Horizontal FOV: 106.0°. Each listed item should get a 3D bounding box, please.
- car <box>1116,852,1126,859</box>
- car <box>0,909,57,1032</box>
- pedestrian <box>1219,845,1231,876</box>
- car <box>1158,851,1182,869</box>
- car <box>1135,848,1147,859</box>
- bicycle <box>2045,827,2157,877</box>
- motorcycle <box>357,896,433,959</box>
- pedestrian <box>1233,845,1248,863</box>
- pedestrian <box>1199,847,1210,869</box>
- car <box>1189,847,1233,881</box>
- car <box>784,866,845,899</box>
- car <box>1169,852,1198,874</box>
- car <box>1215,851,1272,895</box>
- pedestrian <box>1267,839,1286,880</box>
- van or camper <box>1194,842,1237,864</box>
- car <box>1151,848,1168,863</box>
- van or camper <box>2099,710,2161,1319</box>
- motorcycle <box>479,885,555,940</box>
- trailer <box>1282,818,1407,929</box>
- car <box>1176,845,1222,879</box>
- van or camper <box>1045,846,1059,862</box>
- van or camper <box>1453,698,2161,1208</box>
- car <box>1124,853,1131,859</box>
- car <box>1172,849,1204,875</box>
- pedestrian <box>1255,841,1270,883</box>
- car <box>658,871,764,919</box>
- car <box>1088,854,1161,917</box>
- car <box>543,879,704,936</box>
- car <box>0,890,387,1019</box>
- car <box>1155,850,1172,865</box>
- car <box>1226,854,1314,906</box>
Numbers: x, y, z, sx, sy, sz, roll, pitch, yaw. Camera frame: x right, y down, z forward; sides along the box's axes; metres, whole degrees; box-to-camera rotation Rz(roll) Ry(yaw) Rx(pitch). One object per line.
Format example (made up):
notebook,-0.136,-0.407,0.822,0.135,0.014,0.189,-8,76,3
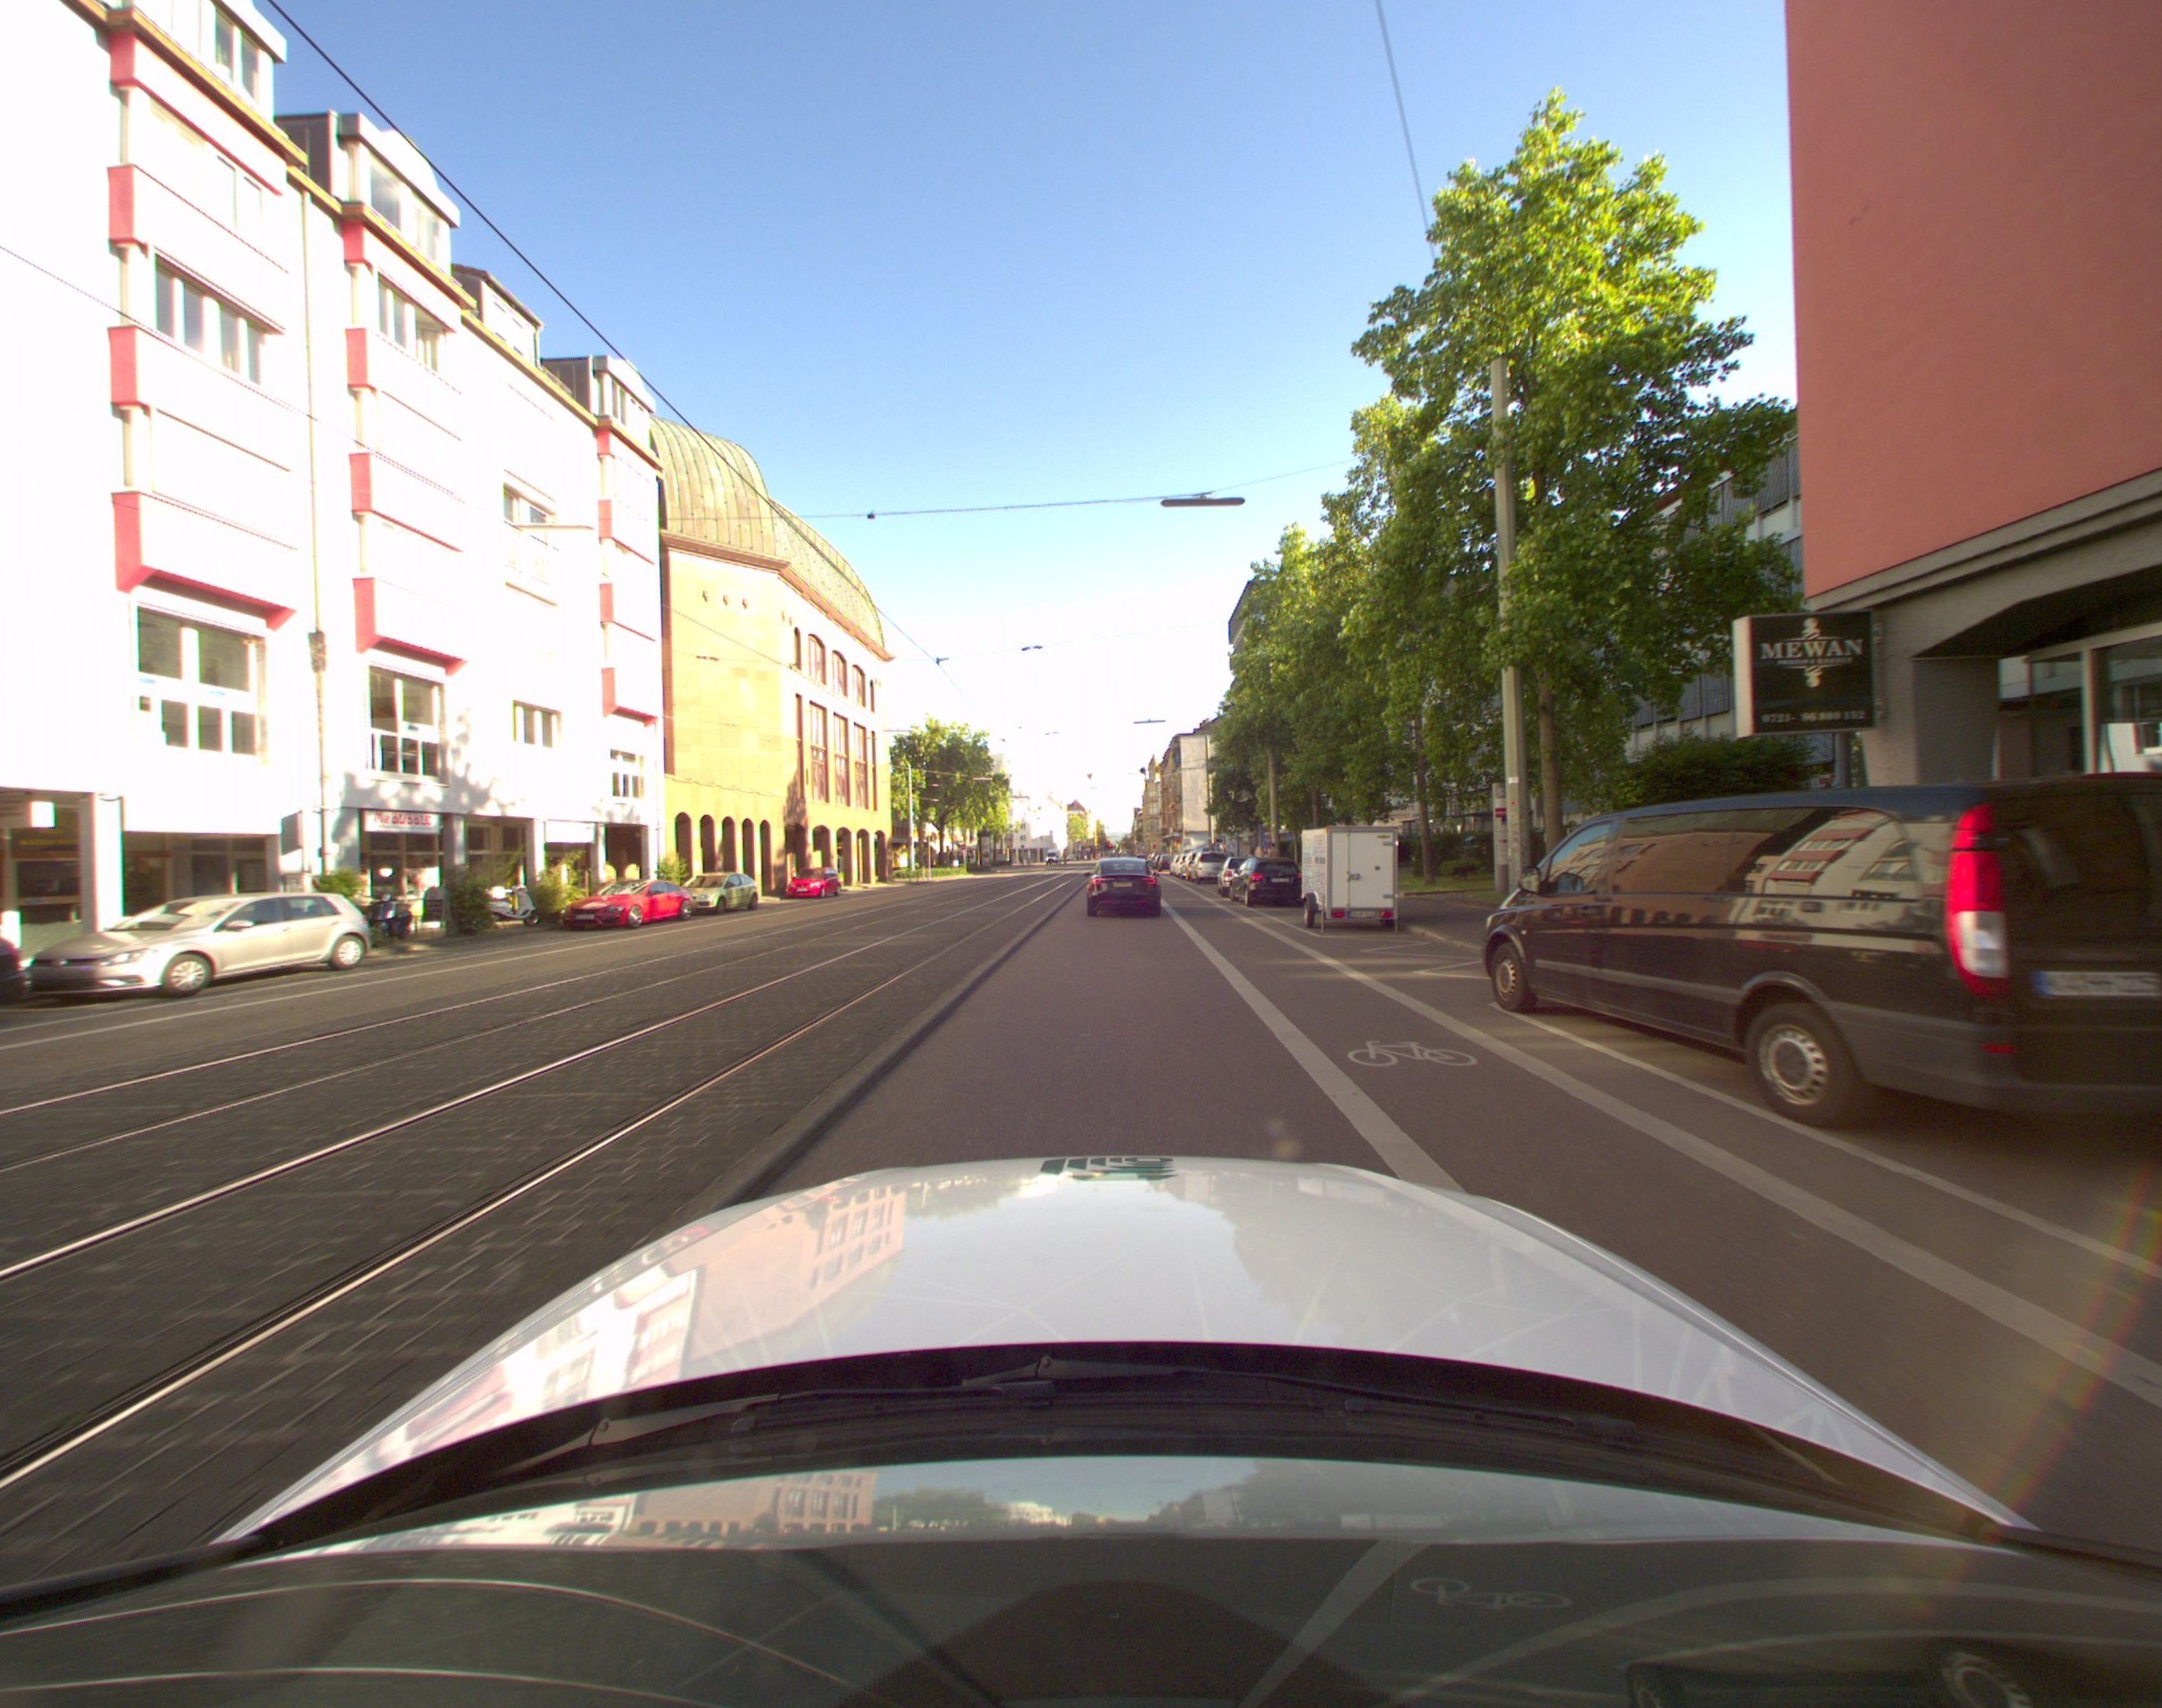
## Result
car,9.642,0.344,195.754,1.988,1.525,3.998,-2,0,-2
car,-14.214,1.491,8.069,1.894,1.458,4.828,-2,0,2
pedestrian,8.568,0.387,48.503,0.608,1.808,0.604,-3,0,7
car,7.749,0.507,71.134,1.704,1.457,4.553,-1,0,2
car,8.916,-0.081,121.422,1.587,1.433,3.689,-3,0,3
bicycle,20.625,-0.043,16.483,1.576,0.876,0.450,-4,0,4
motorcycle,-15.275,1.604,18.188,0.461,1.194,2.071,-1,1,-15
pedestrian,15.475,-0.007,78.952,1.142,1.728,1.050,-3,1,27
pedestrian,10.444,0.298,68.725,0.719,1.812,0.890,-3,0,2
car,6.679,0.477,42.054,1.707,1.590,4.066,-1,1,1
car,-12.908,1.345,39.642,1.652,1.422,3.622,-1,0,2
car,7.241,0.618,57.776,1.596,1.443,3.884,0,0,0
car,5.925,0.654,30.130,1.740,1.443,4.324,-1,1,7
pedestrian,9.386,0.279,39.120,0.665,1.897,0.749,-6,0,7
van or camper,15.235,-0.102,92.650,4.620,2.136,1.991,-5,0,6
car,8.933,0.243,92.941,1.821,1.628,4.099,-2,-1,3
van or camper,4.472,0.520,0.112,1.923,2.036,5.478,-1,0,2
motorcycle,-15.056,1.530,21.795,0.517,1.297,2.083,-1,1,2
trailer,5.513,0.366,17.507,1.653,2.117,3.847,-1,0,4
car,6.751,0.393,46.949,1.919,1.834,4.711,-1,1,0
van or camper,-5.168,-0.035,147.919,2.133,2.654,6.880,-3,0,0
van or camper,4.866,0.376,5.939,1.964,2.045,5.332,0,0,1
car,12.702,0.485,223.003,1.838,1.592,4.004,-3,0,3
car,6.886,0.501,52.562,1.536,1.570,4.444,-1,0,1
pedestrian,8.731,0.378,39.227,0.462,1.954,0.749,-6,0,8
car,-13.194,1.418,29.344,1.662,1.468,4.293,-1,0,2
car,1.084,0.753,21.077,1.713,1.405,3.711,-1,1,1
car,-13.482,1.512,24.420,1.953,1.325,4.822,-1,0,1
car,-13.972,1.466,13.222,1.746,1.474,4.207,-2,0,0
car,8.364,0.339,82.785,1.455,1.432,3.815,-1,-1,2
car,5.691,0.729,25.082,1.796,1.435,4.324,0,0,1
